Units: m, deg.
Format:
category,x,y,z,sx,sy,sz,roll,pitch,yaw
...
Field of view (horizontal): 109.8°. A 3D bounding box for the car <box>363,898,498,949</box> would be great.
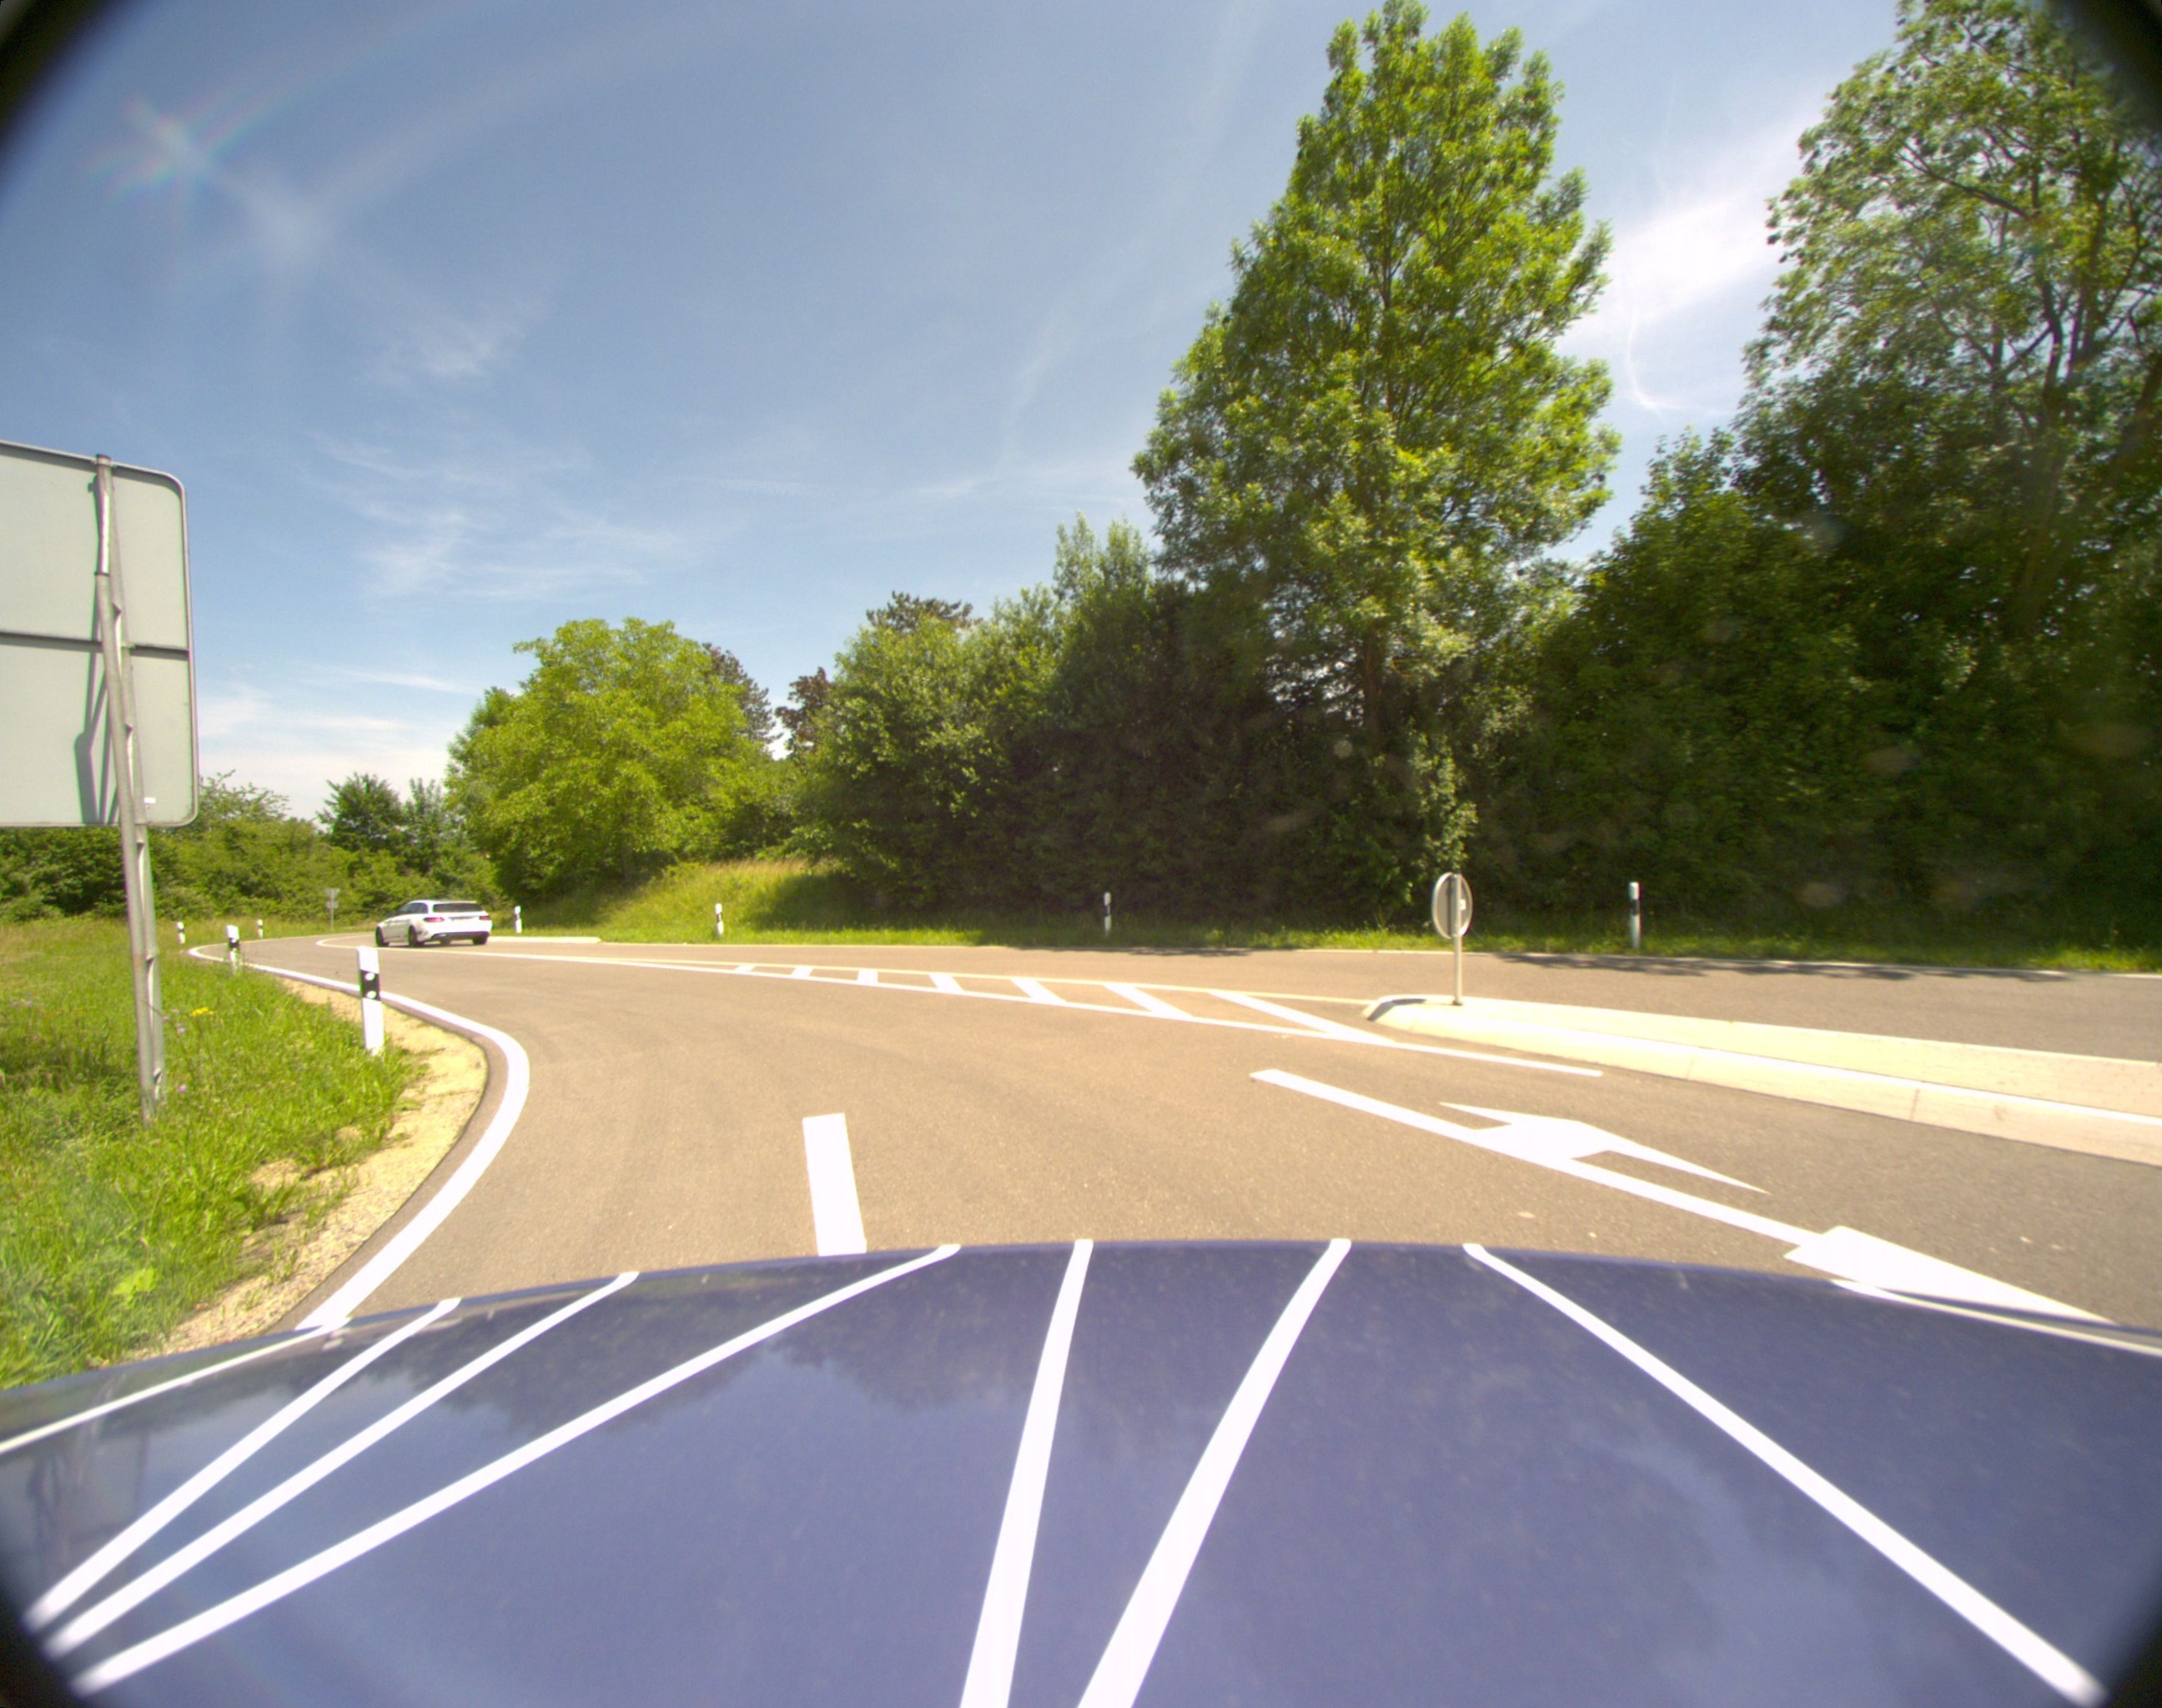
category,x,y,z,sx,sy,sz,roll,pitch,yaw
car,-20.598,2.147,23.972,5.320,1.403,1.814,-3,-2,33
